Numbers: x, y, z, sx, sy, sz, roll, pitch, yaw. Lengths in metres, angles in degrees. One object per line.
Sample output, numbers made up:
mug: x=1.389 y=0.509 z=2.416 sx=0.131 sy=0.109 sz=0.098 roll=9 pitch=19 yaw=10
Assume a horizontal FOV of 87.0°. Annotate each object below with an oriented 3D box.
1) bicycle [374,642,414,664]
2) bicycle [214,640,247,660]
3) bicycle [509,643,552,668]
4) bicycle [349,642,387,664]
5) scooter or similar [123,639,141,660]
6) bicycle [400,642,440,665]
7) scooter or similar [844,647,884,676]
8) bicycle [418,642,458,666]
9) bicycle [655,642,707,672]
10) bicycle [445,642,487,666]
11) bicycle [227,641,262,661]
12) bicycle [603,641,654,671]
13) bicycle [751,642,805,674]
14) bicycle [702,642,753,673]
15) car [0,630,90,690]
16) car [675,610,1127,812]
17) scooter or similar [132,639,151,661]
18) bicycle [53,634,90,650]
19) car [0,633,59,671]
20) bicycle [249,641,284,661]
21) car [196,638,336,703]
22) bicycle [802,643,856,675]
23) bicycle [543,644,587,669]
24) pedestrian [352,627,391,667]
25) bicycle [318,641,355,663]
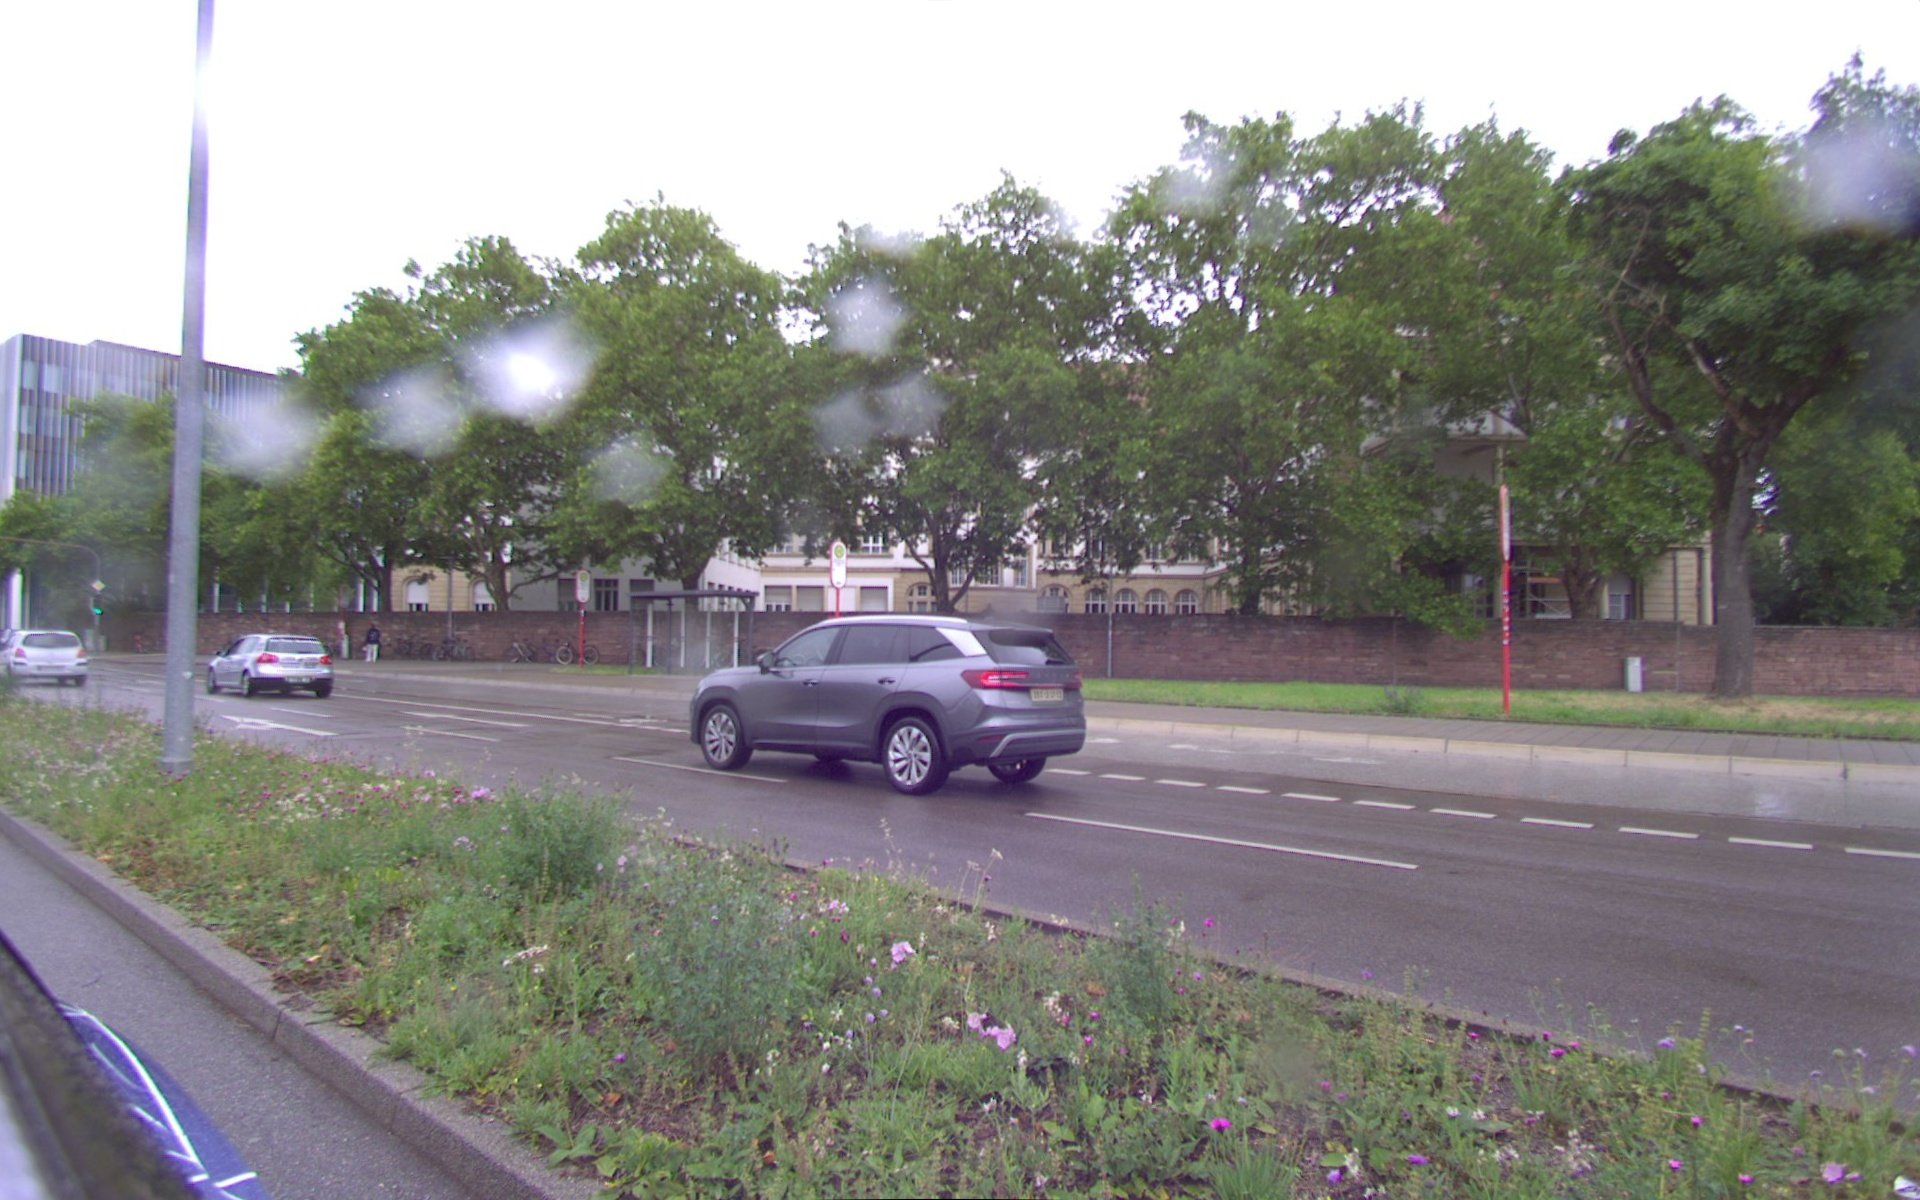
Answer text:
bicycle: x=-25.707 y=2.401 z=45.963 sx=1.692 sy=0.990 sz=0.727 roll=-1 pitch=-2 yaw=27
bicycle: x=-38.222 y=2.623 z=53.018 sx=1.692 sy=0.990 sz=0.727 roll=-1 pitch=-2 yaw=27
bicycle: x=-17.982 y=2.314 z=42.397 sx=1.692 sy=0.990 sz=0.727 roll=-1 pitch=-2 yaw=27
bicycle: x=-27.296 y=2.422 z=46.681 sx=1.692 sy=0.990 sz=0.727 roll=-1 pitch=-2 yaw=27
scooter or similar: x=-48.230 y=2.877 z=58.925 sx=1.138 sy=1.206 sz=0.388 roll=-1 pitch=4 yaw=33
bicycle: x=-24.139 y=2.395 z=45.235 sx=1.692 sy=0.990 sz=0.727 roll=-1 pitch=-2 yaw=27
scooter or similar: x=-3.523 y=2.240 z=37.147 sx=1.353 sy=1.055 sz=0.570 roll=-1 pitch=-3 yaw=22
bicycle: x=-22.983 y=2.373 z=44.538 sx=1.692 sy=0.990 sz=0.727 roll=-1 pitch=-2 yaw=27
bicycle: x=-10.925 y=2.214 z=39.587 sx=1.975 sy=1.144 sz=0.571 roll=-1 pitch=-3 yaw=18
bicycle: x=-21.076 y=2.295 z=43.165 sx=1.692 sy=0.990 sz=0.727 roll=-1 pitch=-2 yaw=27
bicycle: x=-36.615 y=2.580 z=51.792 sx=1.692 sy=0.990 sz=0.727 roll=-1 pitch=-2 yaw=27
bicycle: x=-13.208 y=2.230 z=40.319 sx=1.975 sy=1.144 sz=0.571 roll=-1 pitch=-3 yaw=18
bicycle: x=-6.861 y=2.178 z=38.133 sx=1.978 sy=1.144 sz=0.570 roll=-1 pitch=-3 yaw=22
bicycle: x=-8.958 y=2.207 z=38.983 sx=1.978 sy=1.144 sz=0.570 roll=-1 pitch=-3 yaw=22
car: x=-25.261 y=1.603 z=27.596 sx=3.865 sy=1.513 sz=1.662 roll=-2 pitch=-4 yaw=40
car: x=-0.768 y=1.012 z=10.547 sx=4.600 sy=1.648 sz=1.973 roll=-1 pitch=-5 yaw=41
scooter or similar: x=-46.731 y=2.870 z=57.754 sx=1.138 sy=1.206 sz=0.388 roll=-1 pitch=4 yaw=32
bicycle: x=-73.223 y=3.467 z=83.415 sx=0.595 sy=1.231 sz=2.266 roll=-1 pitch=-3 yaw=25
car: x=-41.585 y=2.276 z=44.711 sx=4.697 sy=1.552 sz=1.791 roll=-1 pitch=-4 yaw=38
bicycle: x=-35.026 y=2.562 z=51.119 sx=1.692 sy=0.990 sz=0.727 roll=-1 pitch=-2 yaw=27
car: x=-16.684 y=1.641 z=24.275 sx=4.154 sy=1.415 sz=1.662 roll=-2 pitch=-4 yaw=40
bicycle: x=-4.874 y=2.194 z=37.649 sx=1.978 sy=1.144 sz=0.570 roll=-1 pitch=-3 yaw=22
bicycle: x=-16.154 y=2.319 z=41.407 sx=1.692 sy=0.990 sz=0.727 roll=-1 pitch=-2 yaw=27
pedestrian: x=-25.524 y=2.012 z=43.886 sx=1.395 sy=1.708 sz=0.862 roll=-1 pitch=-3 yaw=32
bicycle: x=-29.647 y=2.468 z=48.120 sx=1.692 sy=0.990 sz=0.727 roll=-1 pitch=-2 yaw=27
